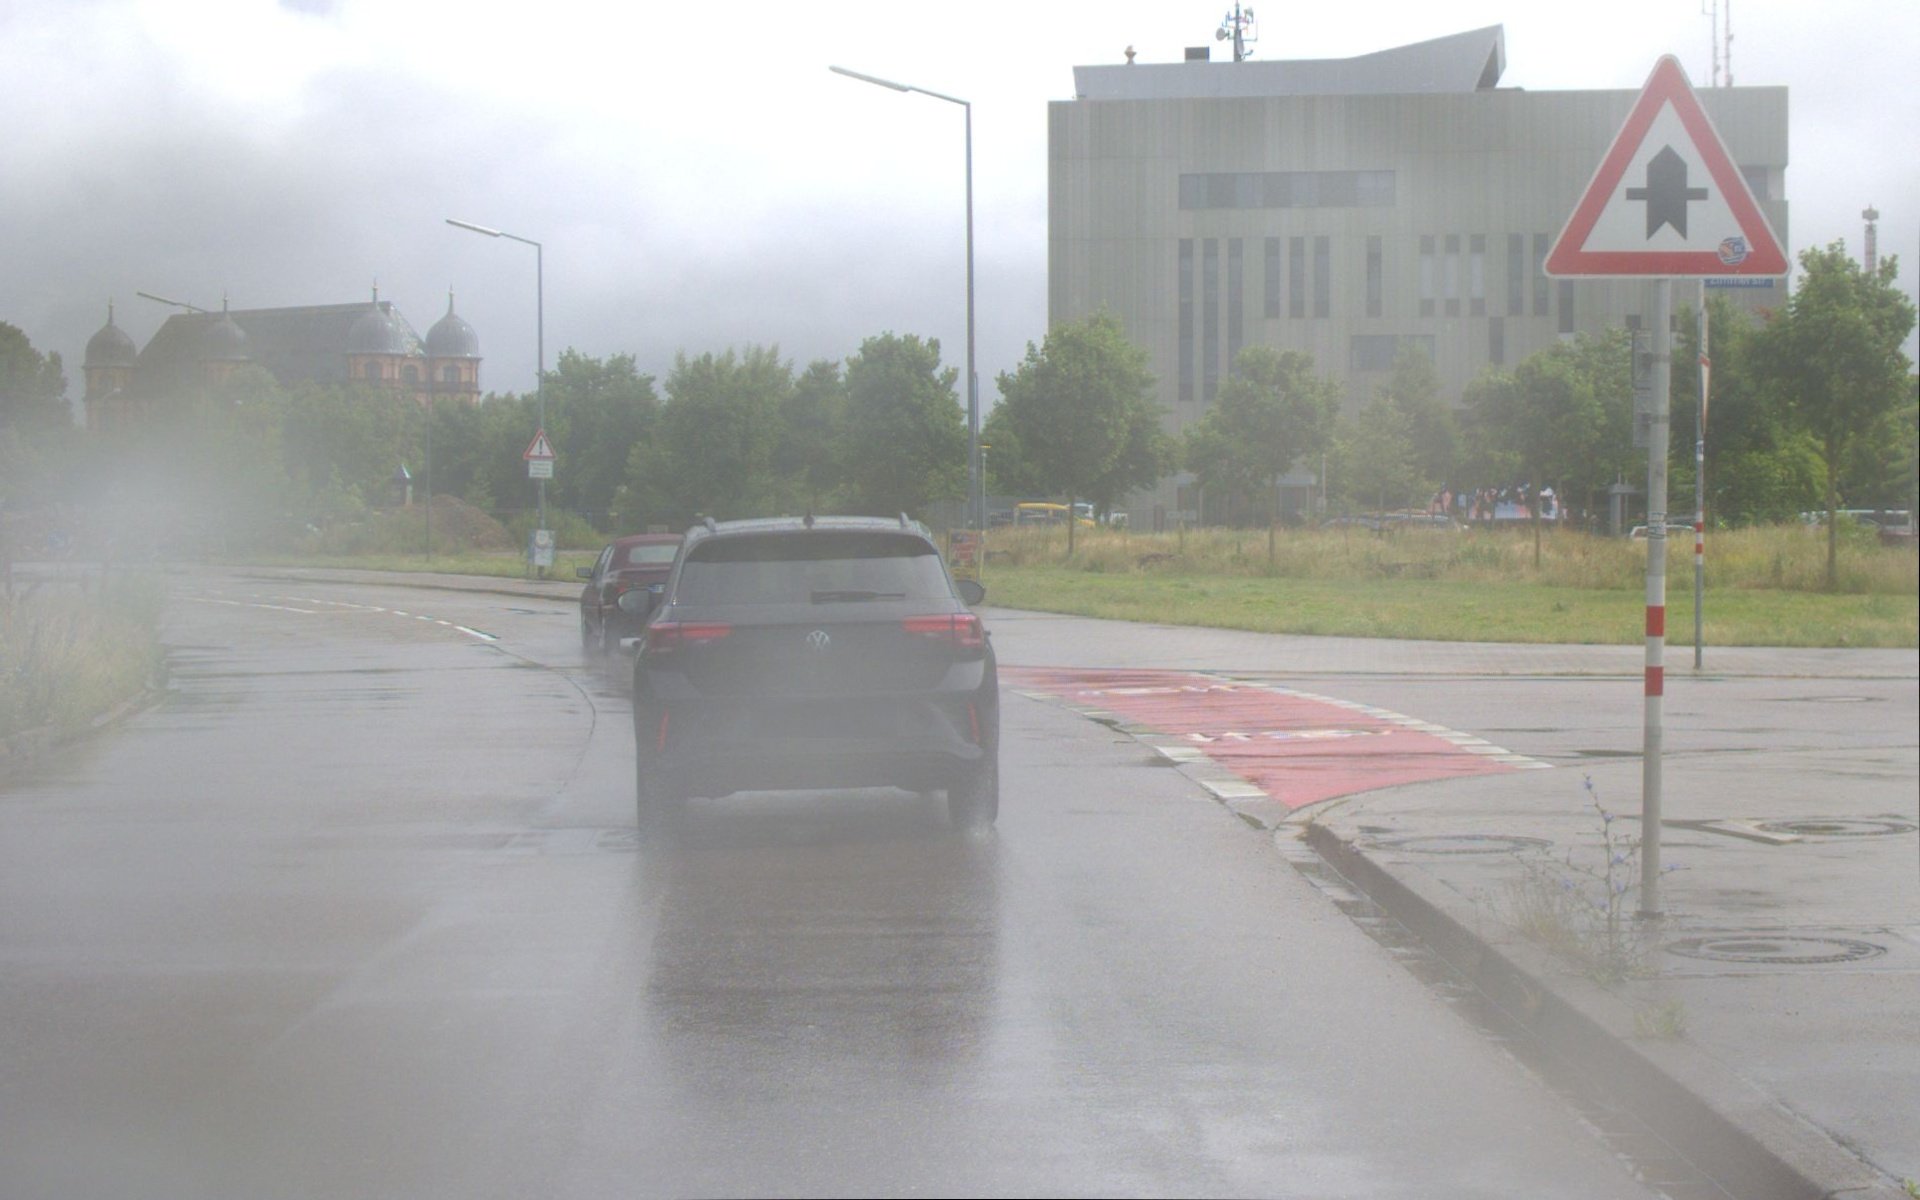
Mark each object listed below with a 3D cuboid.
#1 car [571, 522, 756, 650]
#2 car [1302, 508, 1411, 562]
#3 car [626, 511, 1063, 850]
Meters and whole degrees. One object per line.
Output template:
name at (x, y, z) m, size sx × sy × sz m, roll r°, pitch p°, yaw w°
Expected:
car at (-3.747, -0.210, 42.907) m, size 1.841 × 1.437 × 4.001 m, roll -3°, pitch 2°, yaw -11°
car at (14.918, -2.432, 129.307) m, size 3.700 × 2.007 × 1.998 m, roll 0°, pitch 1°, yaw 19°
car at (-0.700, 0.317, 17.886) m, size 1.986 × 1.515 × 4.001 m, roll -2°, pitch 2°, yaw -5°
